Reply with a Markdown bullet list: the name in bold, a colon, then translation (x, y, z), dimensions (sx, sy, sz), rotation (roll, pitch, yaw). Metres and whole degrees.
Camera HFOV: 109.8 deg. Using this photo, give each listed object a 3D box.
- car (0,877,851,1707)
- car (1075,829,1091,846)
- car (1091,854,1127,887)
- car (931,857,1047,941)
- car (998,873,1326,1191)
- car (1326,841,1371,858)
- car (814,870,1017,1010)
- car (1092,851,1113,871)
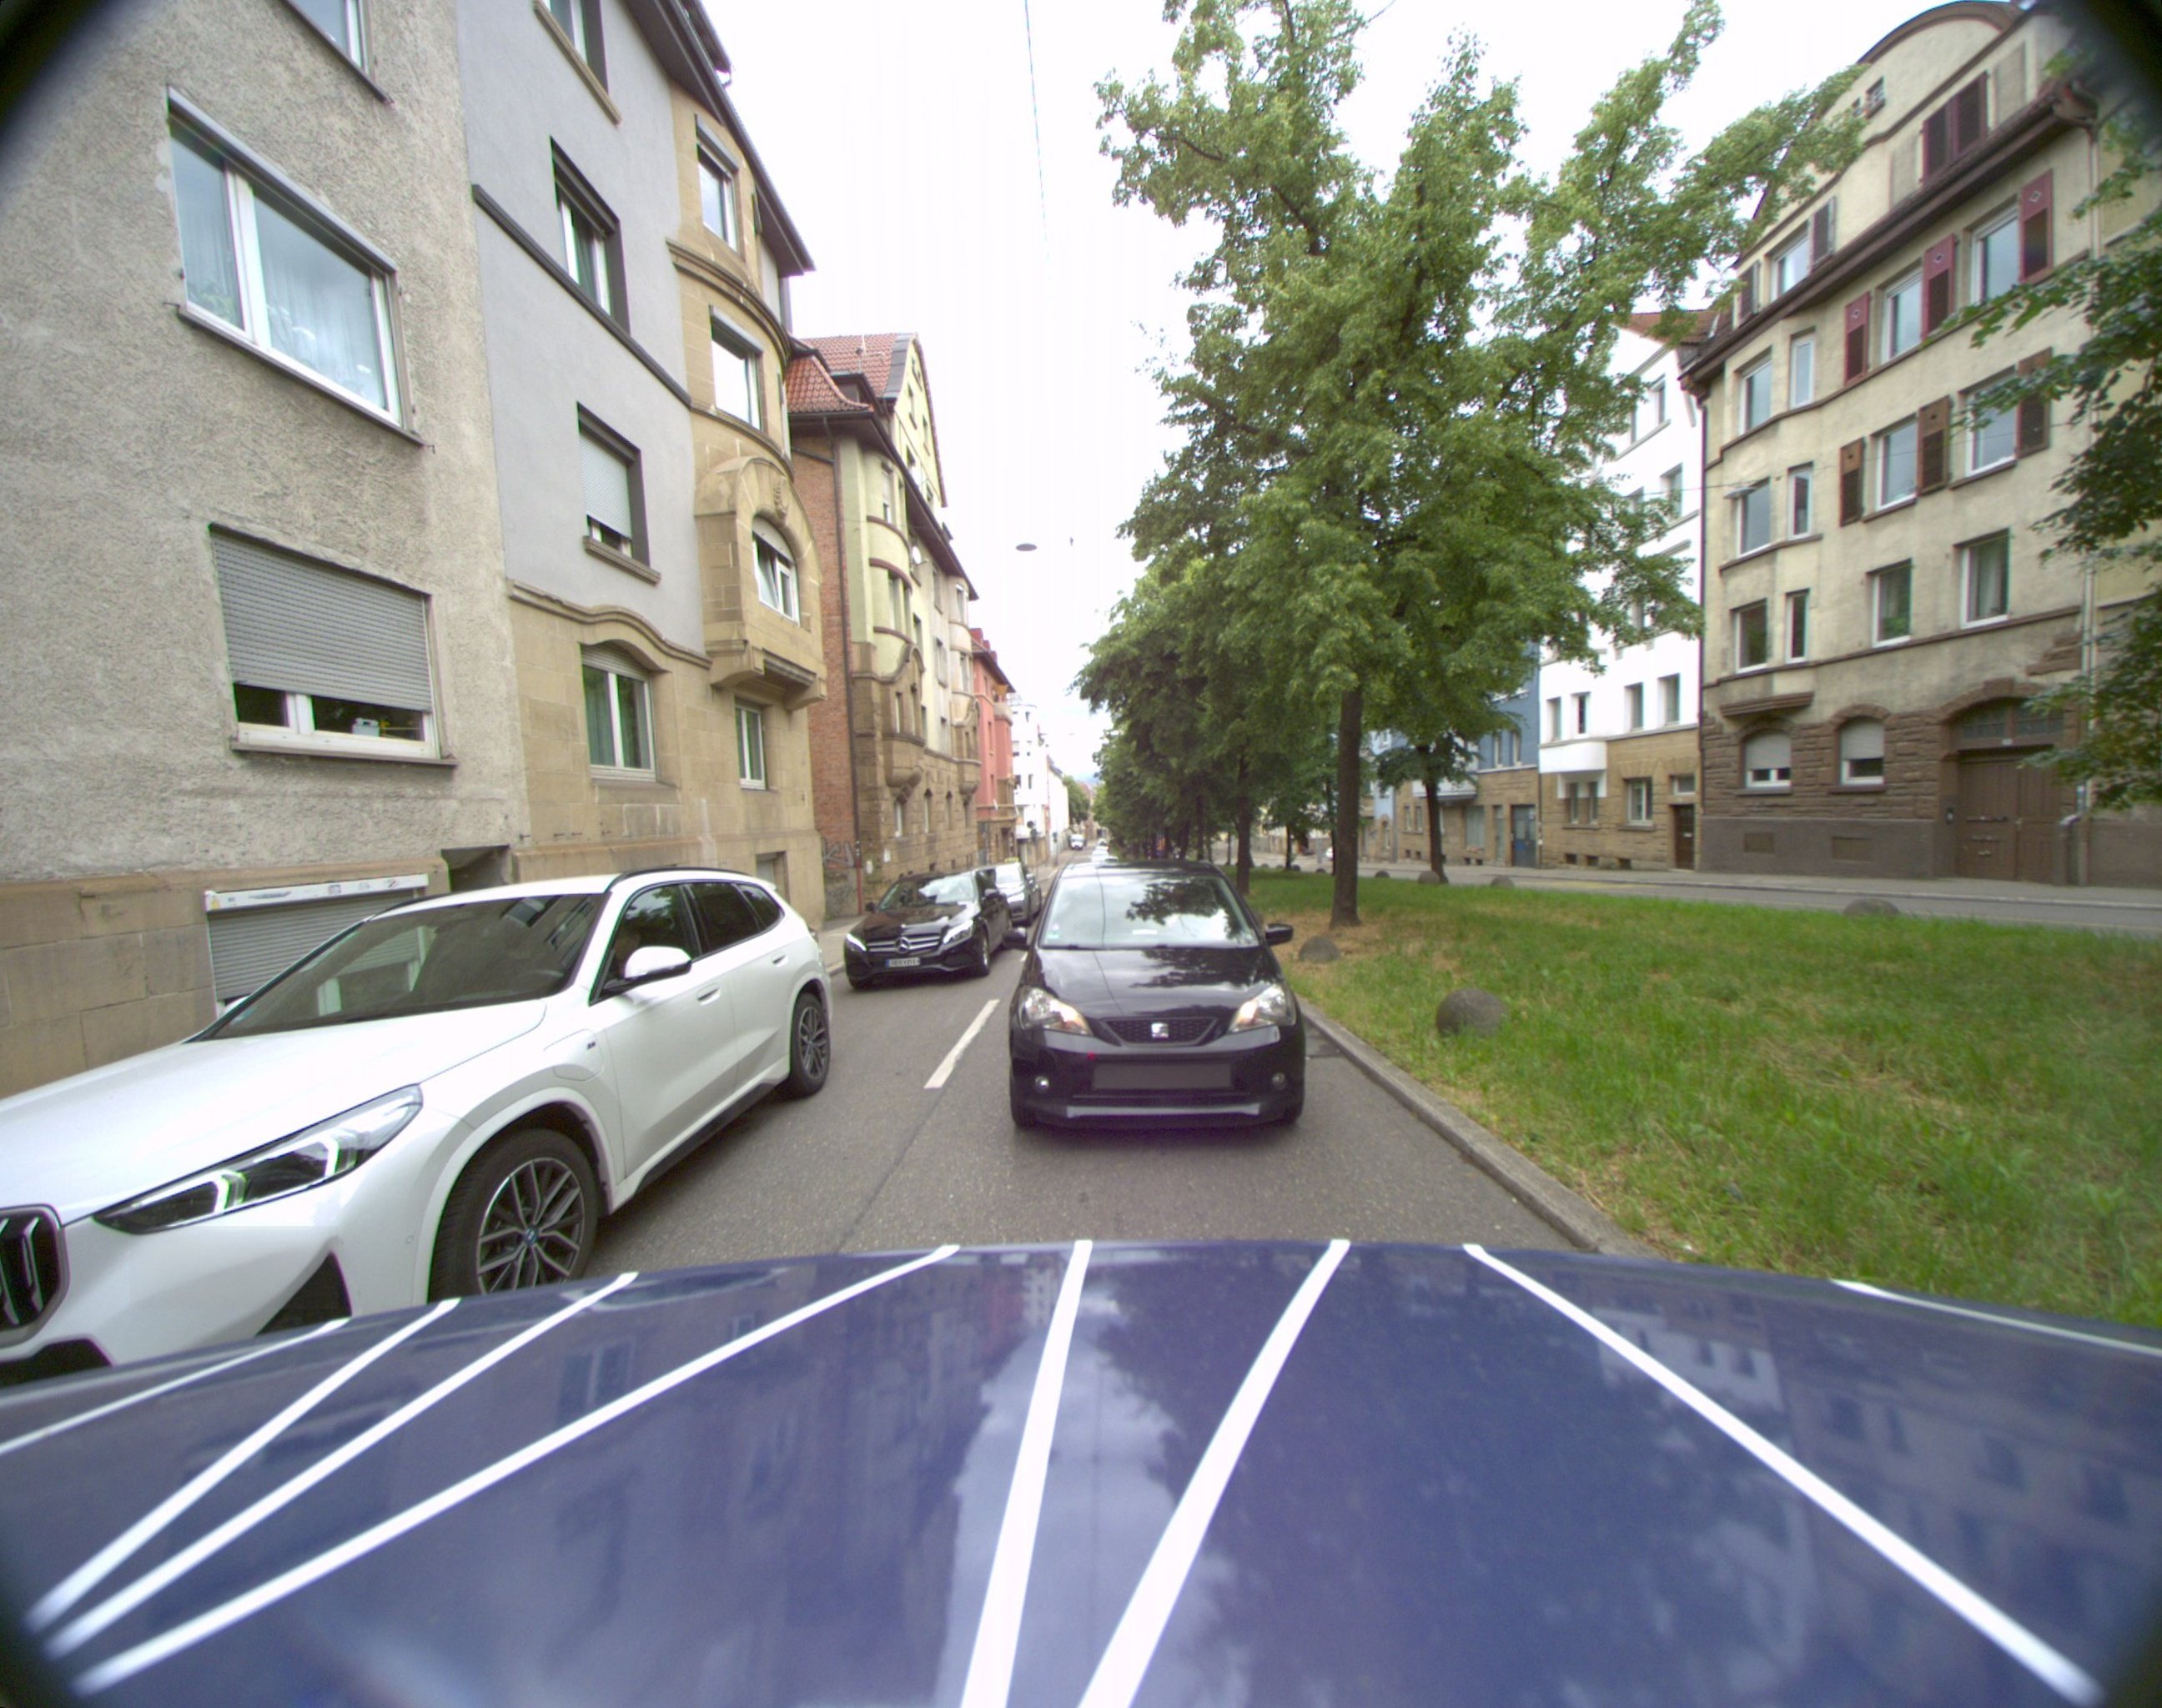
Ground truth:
- **car**: translation (-2.805, 1.073, 3.714), dimensions (1.859, 1.547, 4.350), rotation (-6, 1, 0)
- **car**: translation (0.342, -3.008, 138.432), dimensions (2.716, 2.879, 6.451), rotation (-2, 1, -1)
- **car**: translation (1.372, 0.774, 38.078), dimensions (1.664, 1.456, 3.580), rotation (-2, 1, 1)
- **car**: translation (-2.026, 0.945, 18.048), dimensions (1.936, 1.506, 4.303), rotation (-6, 1, 2)
- **car**: translation (0.424, 0.923, 5.400), dimensions (1.611, 1.457, 3.296), rotation (0, 1, 1)
- **car**: translation (22.173, -0.365, 63.119), dimensions (3.291, 1.323, 1.672), rotation (-2, 1, 10)
- **car**: translation (-2.159, 1.077, 11.202), dimensions (1.884, 1.369, 4.205), rotation (-6, 1, 1)
- **car**: translation (1.704, 0.573, 62.156), dimensions (1.607, 1.492, 3.737), rotation (-2, 1, 1)
